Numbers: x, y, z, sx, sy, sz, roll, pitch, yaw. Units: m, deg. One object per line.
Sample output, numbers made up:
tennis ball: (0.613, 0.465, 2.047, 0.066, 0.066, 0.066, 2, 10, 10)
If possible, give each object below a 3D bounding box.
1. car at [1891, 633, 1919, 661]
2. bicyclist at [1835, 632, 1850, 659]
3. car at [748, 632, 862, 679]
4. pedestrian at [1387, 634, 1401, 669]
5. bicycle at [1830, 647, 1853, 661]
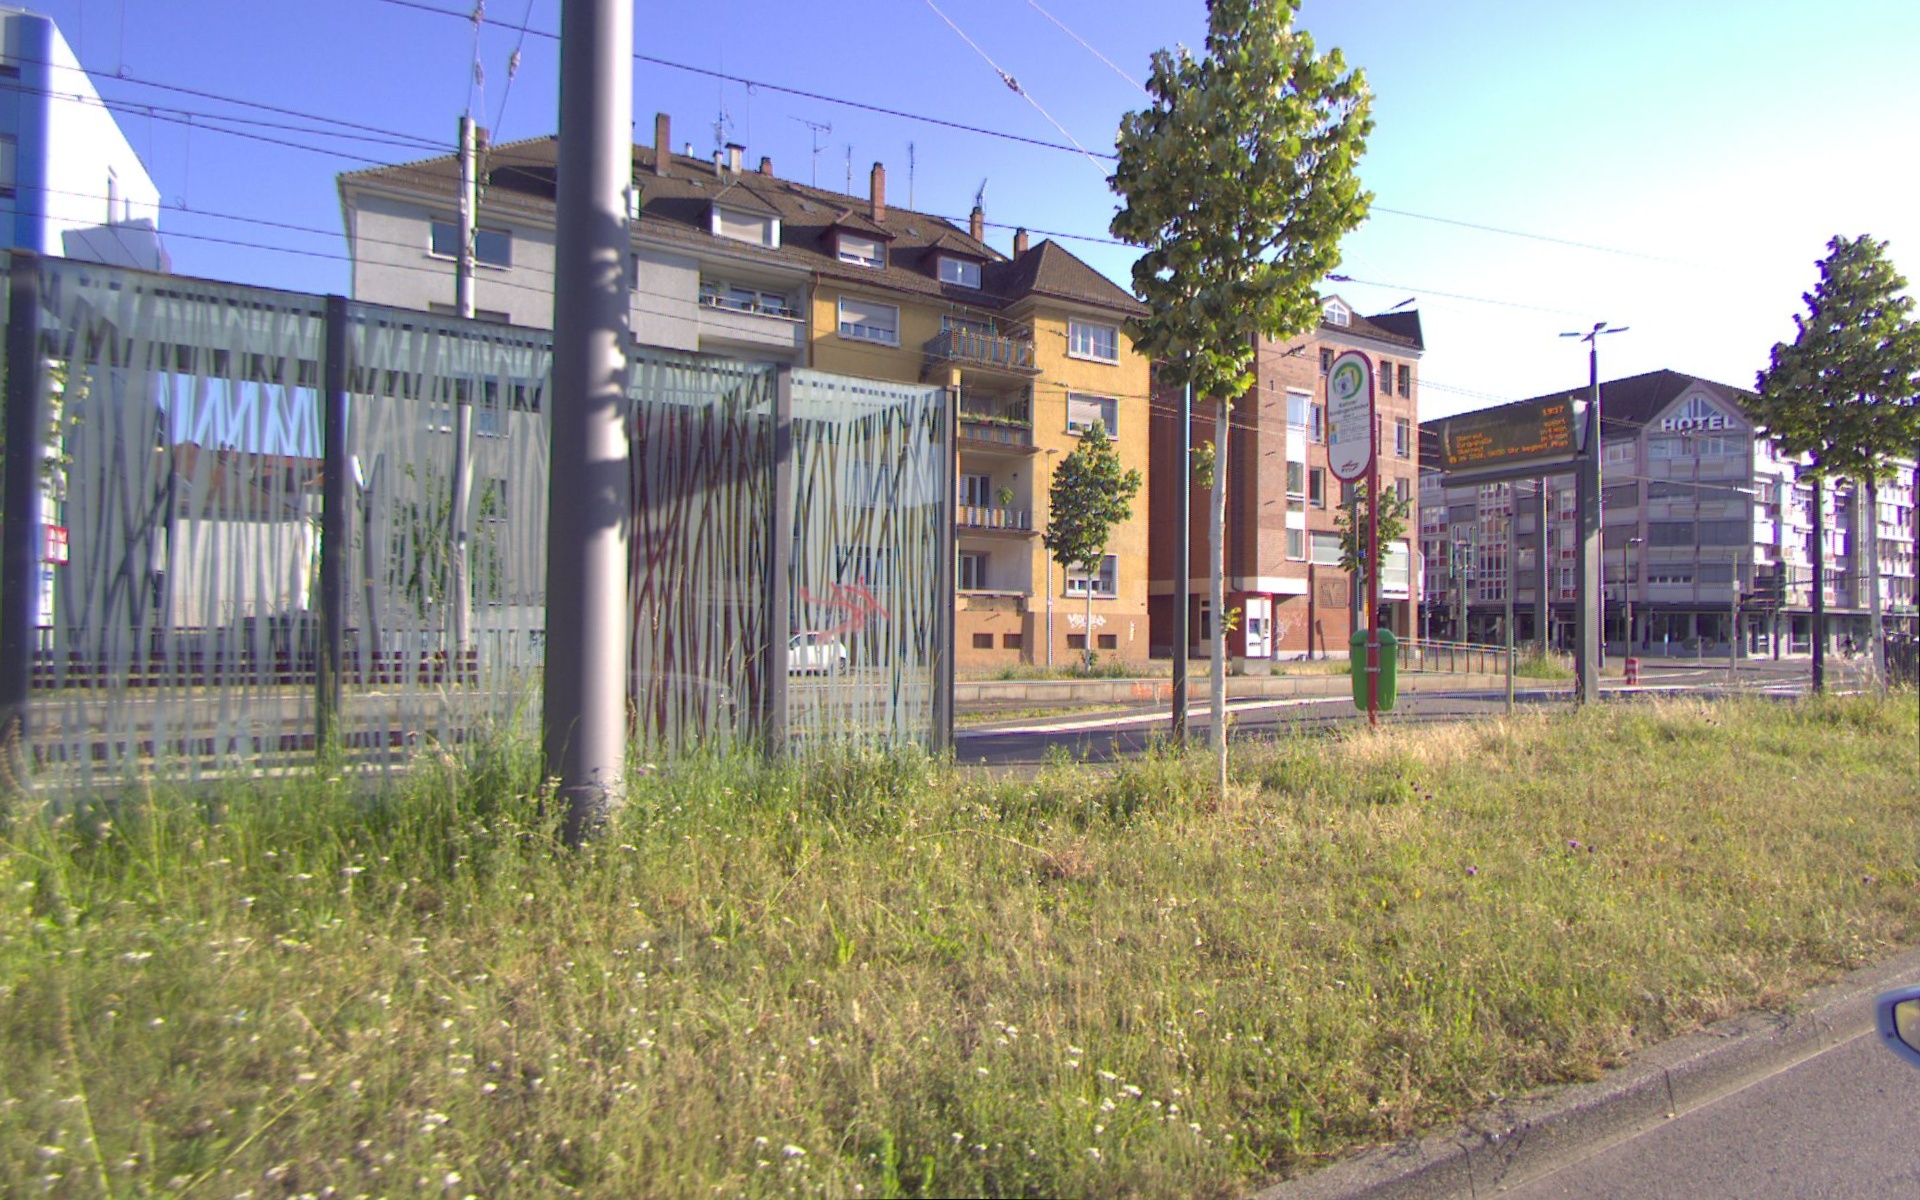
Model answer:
car: (67.363, 3.289, 70.363, 3.949, 1.884, 1.986, 1, -2, -28)
bicyclist: (62.018, 3.220, 70.565, 0.634, 1.886, 0.590, 1, -2, -28)
car: (-5.306, 1.868, 34.417, 3.511, 1.505, 1.739, 1, -2, -30)
pedestrian: (22.714, 2.708, 52.581, 0.532, 1.831, 0.502, 0, -1, -2)
bicycle: (61.843, 3.779, 70.465, 1.813, 0.927, 0.596, 1, -2, -28)
